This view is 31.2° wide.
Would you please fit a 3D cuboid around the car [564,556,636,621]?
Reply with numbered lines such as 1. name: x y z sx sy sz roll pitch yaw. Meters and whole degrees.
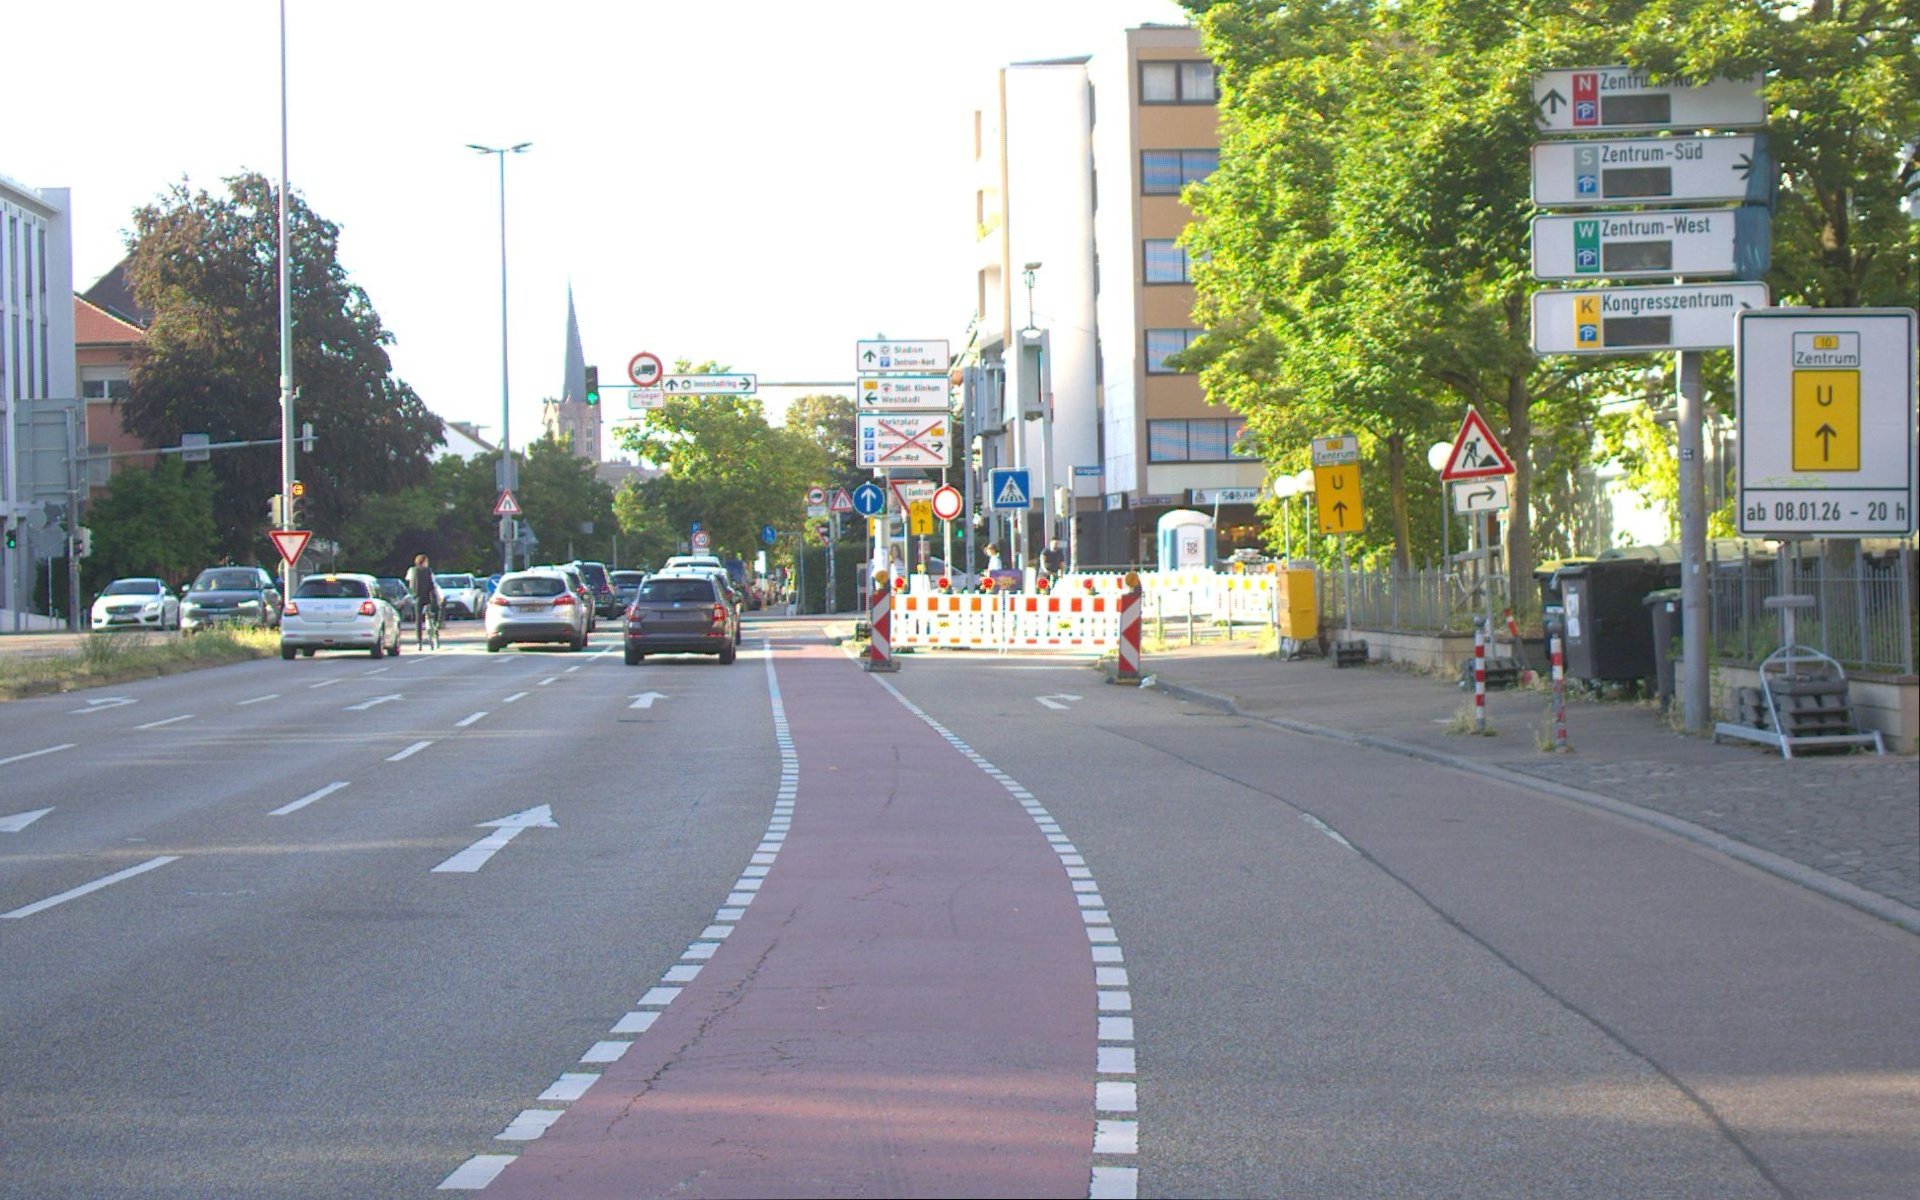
1. car: -9.490 -0.313 90.801 1.664 1.652 4.000 -1 1 -3

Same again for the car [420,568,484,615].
1. car: -16.366 -0.290 110.892 1.847 1.456 4.050 -1 1 -6

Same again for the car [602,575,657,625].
1. car: -11.465 -0.008 119.448 1.664 1.652 4.000 -1 1 -3

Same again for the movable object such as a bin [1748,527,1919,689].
1. movable object such as a bin: 8.276 0.060 32.524 1.308 1.428 1.279 -3 2 1

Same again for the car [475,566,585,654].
1. car: -8.081 0.154 64.912 1.748 1.559 4.050 -1 1 -3

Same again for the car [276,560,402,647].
1. car: -10.917 0.033 60.680 1.685 1.452 4.001 -1 1 -3

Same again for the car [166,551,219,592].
1. car: -30.188 -1.122 135.313 1.840 1.566 4.001 -1 1 -11

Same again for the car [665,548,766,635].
1. car: -4.668 -0.185 66.066 1.728 1.573 3.723 -1 1 -1

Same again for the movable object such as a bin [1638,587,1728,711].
1. movable object such as a bin: 6.257 0.418 29.781 0.619 1.042 0.616 -1 1 -1

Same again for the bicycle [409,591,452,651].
1. bicycle: -10.102 0.389 65.661 0.699 1.096 2.258 -1 1 -7

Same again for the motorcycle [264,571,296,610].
1. motorcycle: -22.752 -0.315 115.097 0.770 1.280 2.843 -1 1 -6

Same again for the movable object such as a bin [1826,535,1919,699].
1. movable object such as a bin: 8.545 0.129 30.178 1.607 1.405 0.865 -1 1 -5

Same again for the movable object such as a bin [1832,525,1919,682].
1. movable object such as a bin: 9.133 0.010 32.869 1.195 1.416 1.279 -3 2 -1

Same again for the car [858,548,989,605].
1. car: -1.271 -0.818 119.449 4.363 1.871 2.000 -1 1 -5

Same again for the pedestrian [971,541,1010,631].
1. pedestrian: 0.624 -0.292 69.648 0.741 1.793 0.715 -1 0 0

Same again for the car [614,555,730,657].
1. car: -4.647 0.067 55.872 1.748 1.559 4.050 -1 1 -3

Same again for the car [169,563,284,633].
1. car: -17.284 -0.072 81.198 1.993 1.573 4.900 -1 1 -4

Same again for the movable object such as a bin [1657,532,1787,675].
1. movable object such as a bin: 8.166 0.030 36.862 1.103 1.479 0.957 -1 1 -4

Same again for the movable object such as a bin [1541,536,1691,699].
1. movable object such as a bin: 6.300 0.182 33.085 1.092 1.503 1.254 -1 -2 -3

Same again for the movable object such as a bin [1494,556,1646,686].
1. movable object such as a bin: 6.504 0.216 36.710 1.213 1.339 1.055 -2 1 -19

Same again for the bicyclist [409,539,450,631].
1. bicyclist: -10.114 -0.281 65.550 0.690 1.722 0.988 -1 0 -7

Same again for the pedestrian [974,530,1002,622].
1. pedestrian: 0.573 -0.491 70.413 0.520 1.862 0.614 -1 0 -2

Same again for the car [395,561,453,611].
1. car: -20.280 -0.550 130.202 1.915 1.805 4.718 -1 1 -6

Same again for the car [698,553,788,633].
1. car: -4.689 -0.159 73.898 1.819 1.634 4.001 -1 1 -5

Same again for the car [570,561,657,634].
1. car: -7.815 -0.083 77.864 1.748 1.559 4.050 -1 1 -3

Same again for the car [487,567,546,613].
1. car: -14.960 -0.351 116.107 1.847 1.456 4.050 -1 1 -6

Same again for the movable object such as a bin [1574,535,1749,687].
1. movable object such as a bin: 7.087 0.102 34.781 1.326 1.479 1.211 -1 1 -13

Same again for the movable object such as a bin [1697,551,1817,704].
1. movable object such as a bin: 6.985 0.233 30.157 0.777 1.304 0.865 -1 1 -5

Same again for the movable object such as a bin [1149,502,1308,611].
1. movable object such as a bin: 6.062 -0.975 77.781 3.328 2.375 1.529 -1 0 -4

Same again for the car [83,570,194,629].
1. car: -21.494 -0.036 90.098 1.993 1.408 4.444 -2 1 -3
